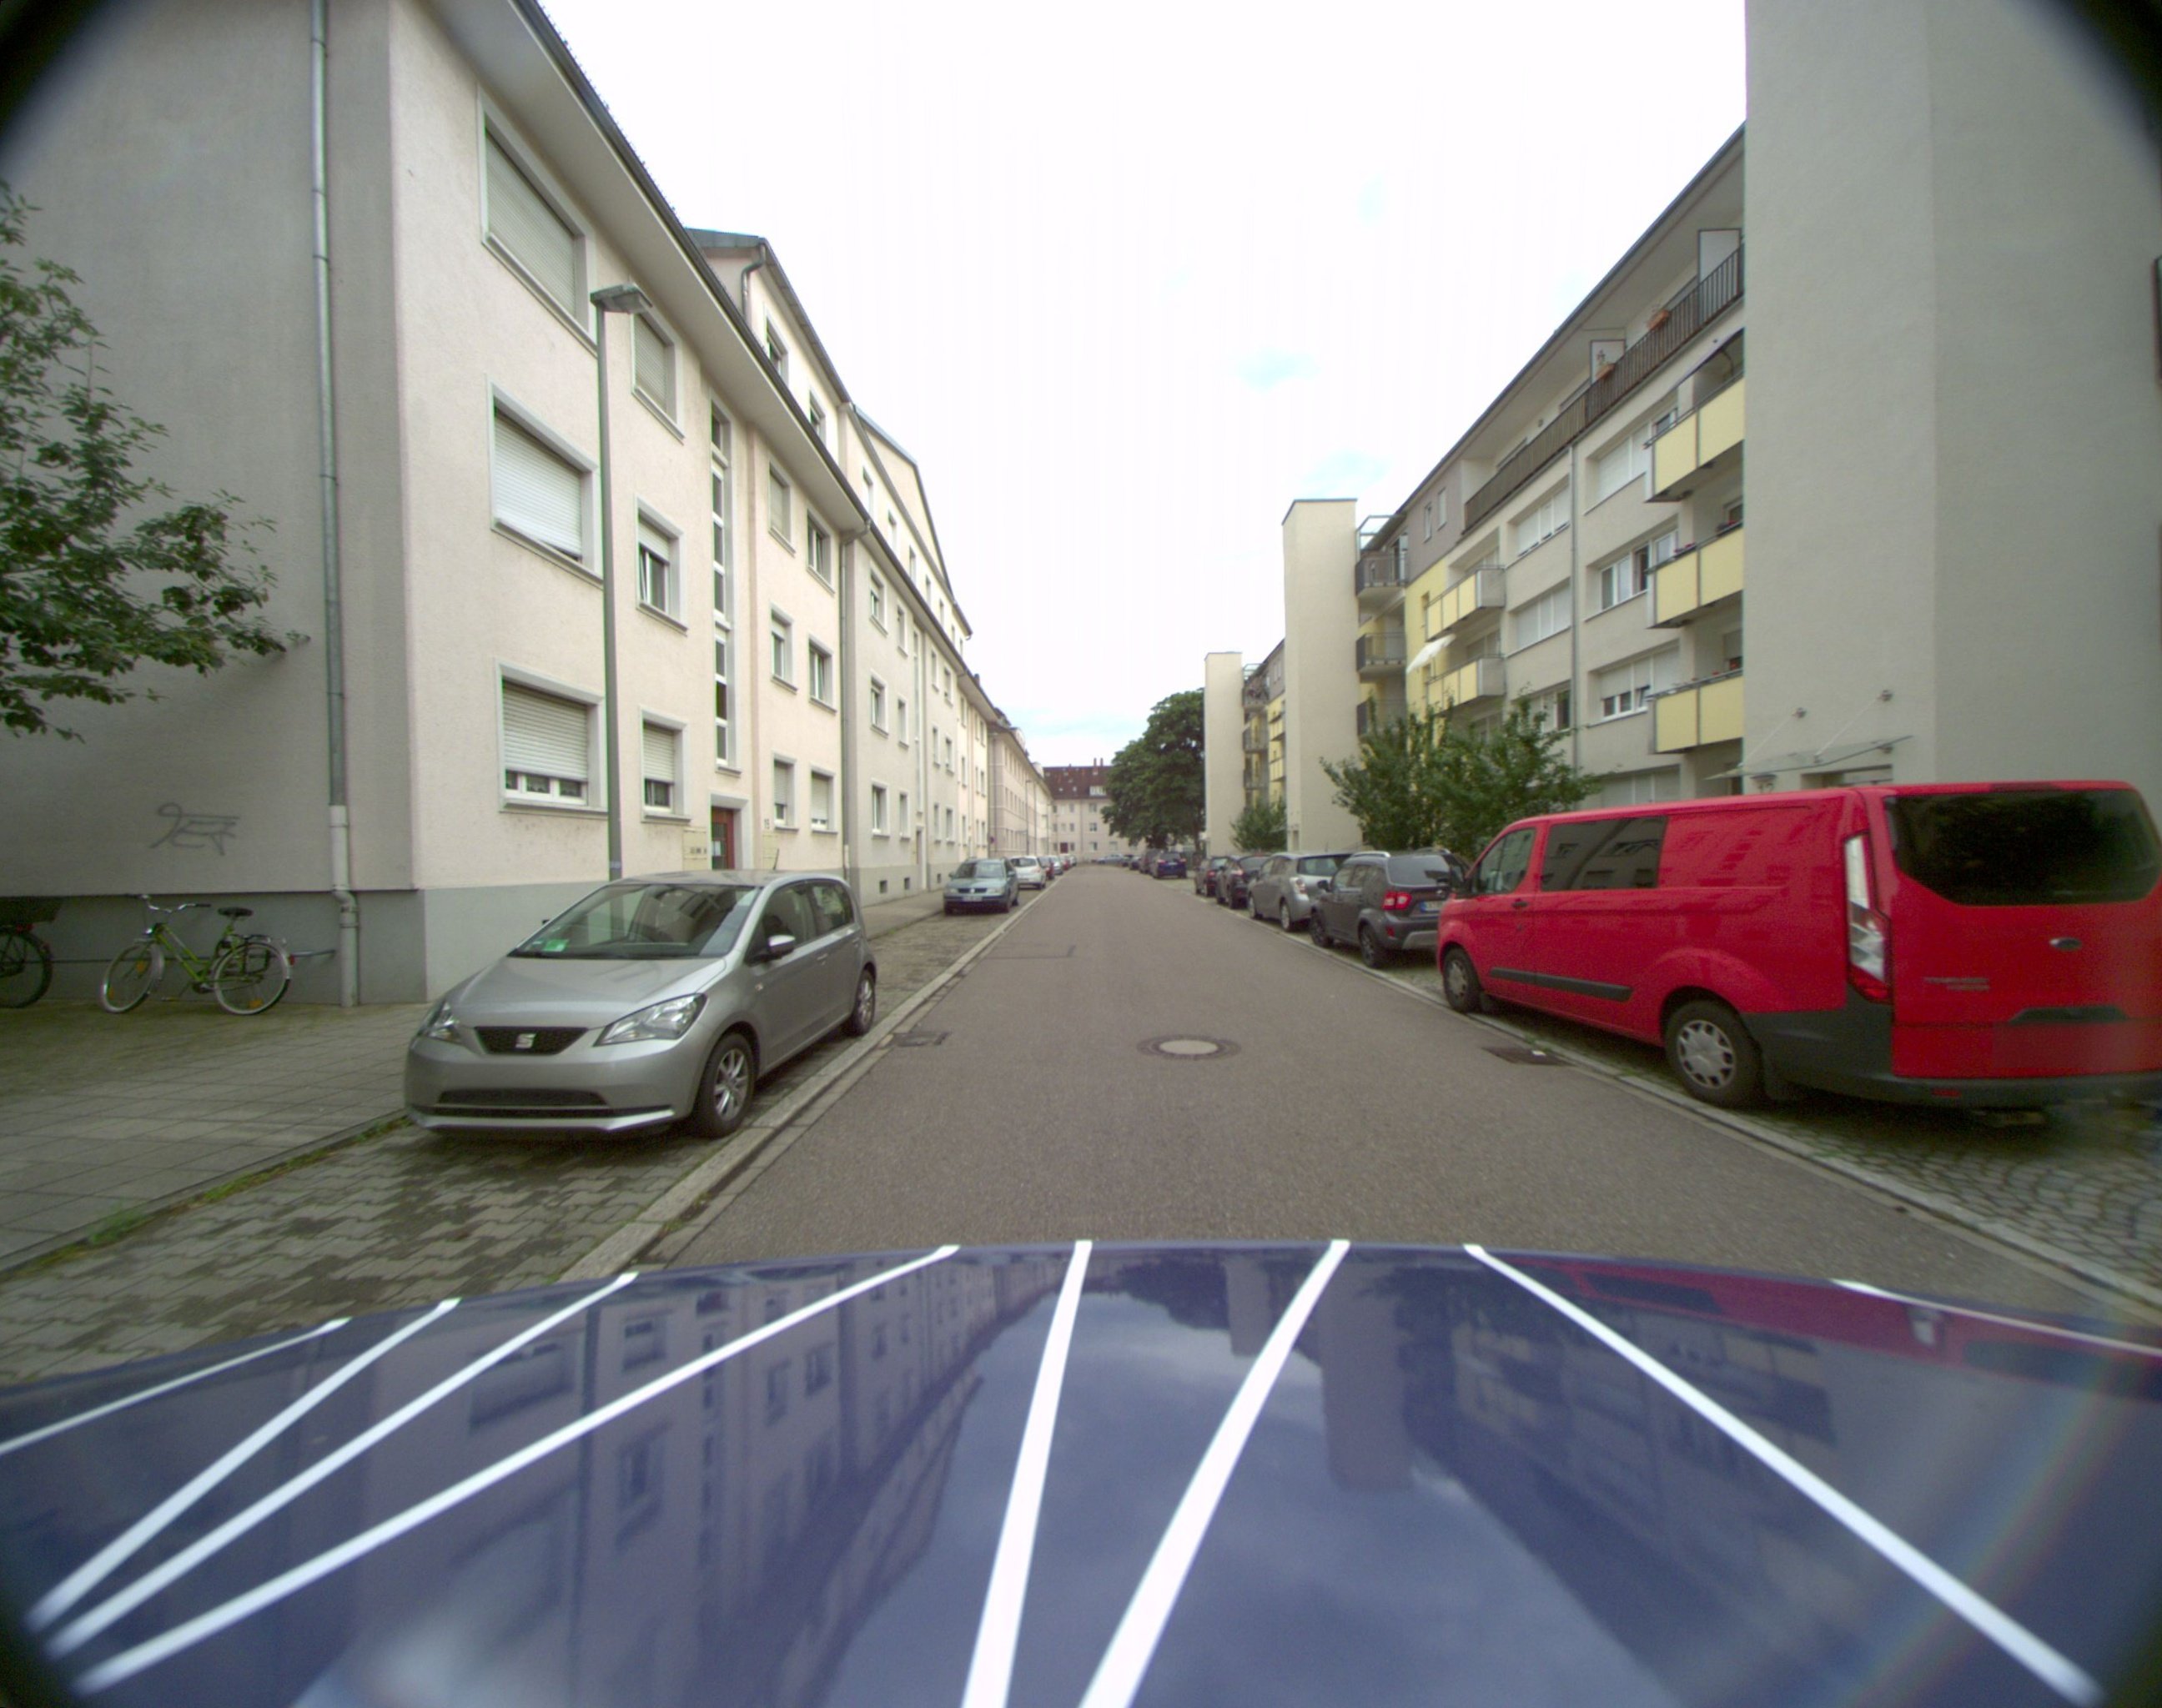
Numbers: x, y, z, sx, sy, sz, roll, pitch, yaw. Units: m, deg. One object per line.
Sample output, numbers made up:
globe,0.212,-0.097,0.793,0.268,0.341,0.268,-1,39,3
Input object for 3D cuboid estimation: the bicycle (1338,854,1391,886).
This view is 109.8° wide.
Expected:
bicycle,10.403,0.567,27.936,1.727,1.136,0.609,-1,1,-3

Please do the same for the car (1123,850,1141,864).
car,6.265,0.357,93.555,2.000,1.566,4.209,-3,0,1

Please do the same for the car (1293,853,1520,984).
car,4.675,0.814,11.626,1.725,1.561,4.054,-3,0,1

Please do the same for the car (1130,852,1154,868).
car,5.858,0.572,73.558,1.919,1.431,4.434,-3,0,-1

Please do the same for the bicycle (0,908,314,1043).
bicycle,-8.375,1.071,6.850,2.213,1.070,0.648,-1,1,0

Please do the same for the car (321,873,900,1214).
car,-2.741,0.963,5.678,1.729,1.483,4.060,-1,0,1

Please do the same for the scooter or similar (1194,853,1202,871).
scooter or similar,8.201,0.550,53.229,0.438,1.236,1.135,-1,1,1

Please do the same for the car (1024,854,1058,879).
car,-2.371,0.745,45.904,1.758,1.401,3.936,-1,0,1

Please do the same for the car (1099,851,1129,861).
car,5.057,0.330,116.831,4.545,1.551,1.565,-1,1,5

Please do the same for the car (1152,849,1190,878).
car,5.400,0.535,46.170,1.804,1.617,4.472,-2,0,1

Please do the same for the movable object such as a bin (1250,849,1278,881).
movable object such as a bin,8.801,0.515,36.553,1.004,1.438,1.314,-2,1,1

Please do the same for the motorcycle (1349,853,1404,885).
motorcycle,10.606,0.530,27.298,1.753,1.122,0.593,0,1,-3

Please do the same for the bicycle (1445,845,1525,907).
bicycle,8.092,0.417,15.302,0.553,1.185,1.727,0,1,-6

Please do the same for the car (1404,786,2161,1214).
car,4.782,0.656,6.046,2.157,1.942,4.920,-3,0,-1

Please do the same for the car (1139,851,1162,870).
car,5.805,0.501,63.822,1.625,1.559,3.613,-1,0,-1

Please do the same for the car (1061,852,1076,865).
car,-1.484,0.520,91.750,1.764,1.595,3.956,-1,0,1

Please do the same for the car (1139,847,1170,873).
car,5.647,0.451,58.531,1.891,1.844,4.785,-1,0,0

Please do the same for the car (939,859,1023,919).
car,-2.694,0.900,21.411,1.729,1.460,4.264,-1,0,1

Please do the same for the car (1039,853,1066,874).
car,-2.075,0.666,55.997,1.792,1.455,4.040,0,0,1

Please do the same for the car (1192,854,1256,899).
car,5.197,0.783,28.088,1.647,1.430,3.856,-3,0,1

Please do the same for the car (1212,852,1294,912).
car,4.977,0.748,22.480,1.657,1.521,3.895,-3,0,3

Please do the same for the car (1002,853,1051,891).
car,-2.385,0.762,34.111,1.788,1.590,3.805,-1,0,2

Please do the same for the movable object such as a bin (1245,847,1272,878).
movable object such as a bin,8.856,0.403,37.968,1.004,1.492,1.314,-2,1,1

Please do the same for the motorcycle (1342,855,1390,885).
motorcycle,10.987,0.622,29.326,1.619,1.122,0.690,0,1,-3

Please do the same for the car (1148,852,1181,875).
car,5.660,0.611,52.122,1.625,1.437,3.818,-2,0,-3

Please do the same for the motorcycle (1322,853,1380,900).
motorcycle,7.995,0.636,22.610,0.871,1.299,2.420,-2,0,1

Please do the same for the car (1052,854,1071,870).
car,-1.920,0.764,75.087,1.758,1.477,3.773,0,0,1

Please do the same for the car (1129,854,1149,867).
car,6.002,0.636,79.050,1.765,1.257,4.209,-3,0,1

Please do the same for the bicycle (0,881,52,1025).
bicycle,-10.556,0.915,6.843,1.619,1.275,0.598,-1,1,-3

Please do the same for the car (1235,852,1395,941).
car,4.856,0.788,16.609,1.839,1.561,4.860,-3,0,-1

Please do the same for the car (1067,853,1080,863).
car,-1.014,0.568,102.524,1.563,1.334,3.789,-1,0,1
